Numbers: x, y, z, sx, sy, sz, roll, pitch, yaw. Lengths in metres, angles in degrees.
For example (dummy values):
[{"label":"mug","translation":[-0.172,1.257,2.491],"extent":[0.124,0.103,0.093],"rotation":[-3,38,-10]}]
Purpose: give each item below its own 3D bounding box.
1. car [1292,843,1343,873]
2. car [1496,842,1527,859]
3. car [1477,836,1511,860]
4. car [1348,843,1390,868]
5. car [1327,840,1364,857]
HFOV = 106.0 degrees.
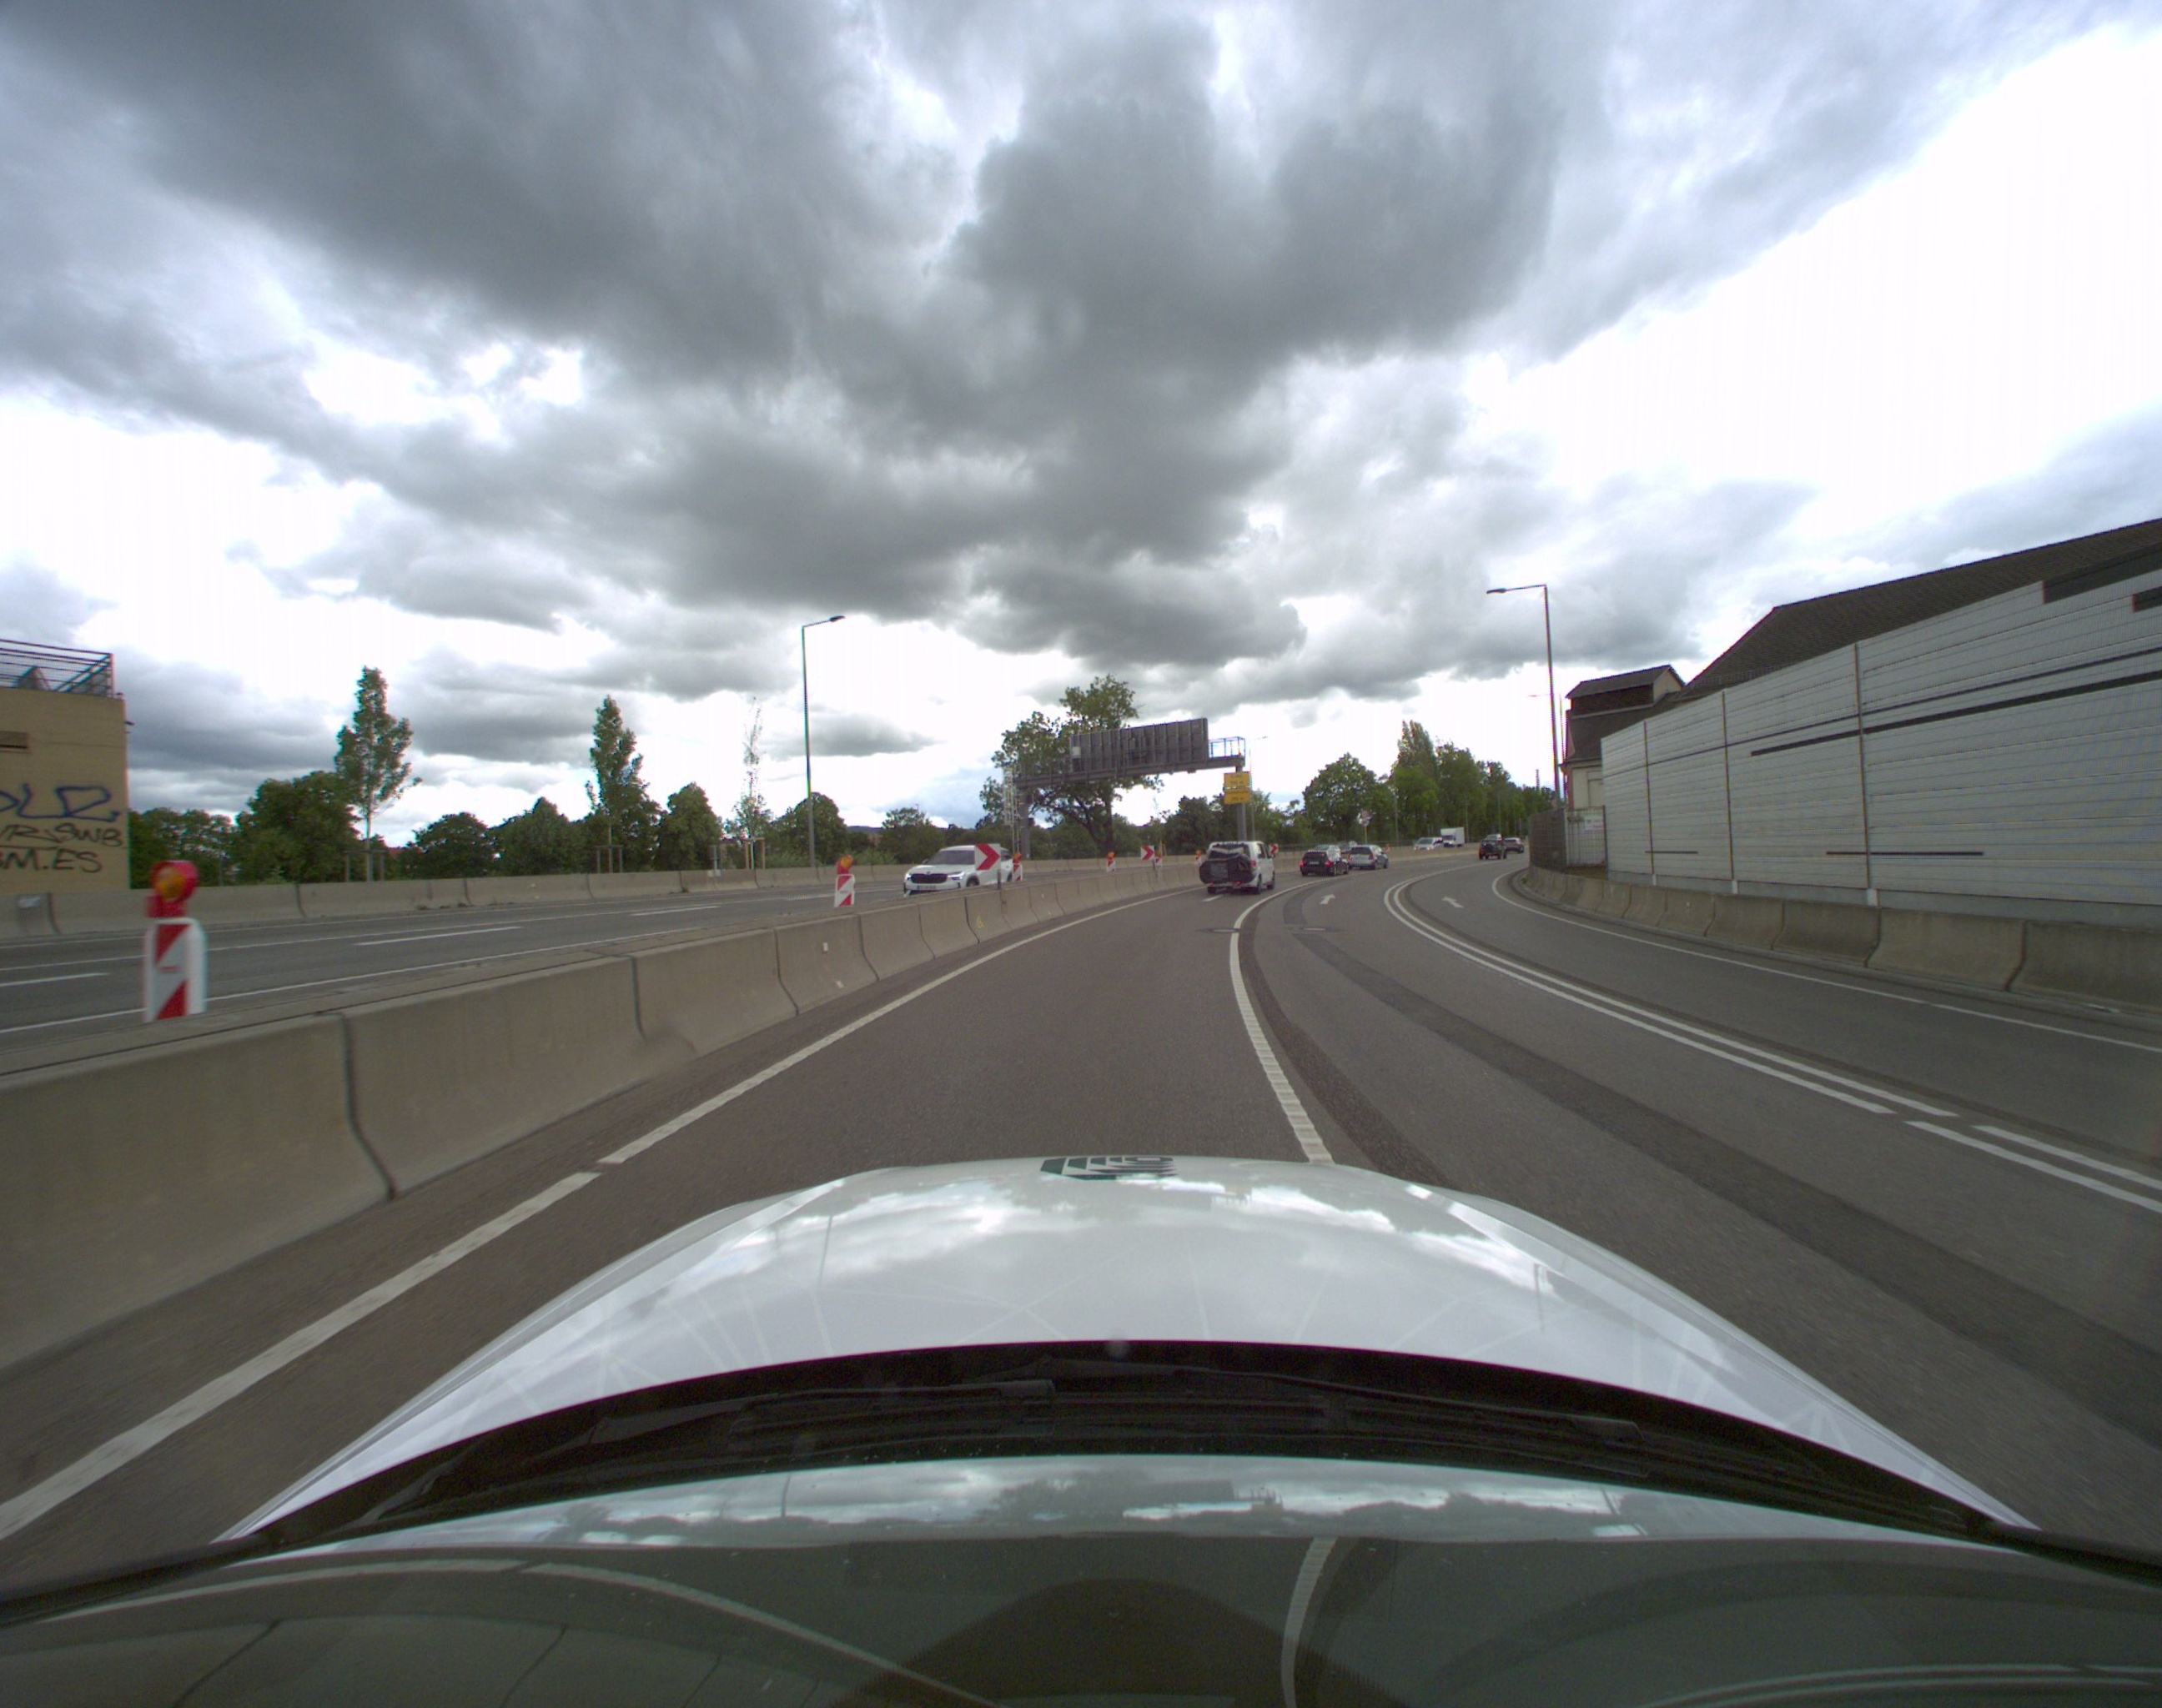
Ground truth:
[{"label":"car","translation":[12.656,0.208,43.409],"extent":[1.798,1.434,4.090],"rotation":[-3,0,27]},{"label":"car","translation":[44.502,-0.351,84.178],"extent":[1.974,1.673,4.025],"rotation":[0,0,40]},{"label":"car","translation":[33.947,-0.518,66.890],"extent":[1.974,1.860,4.026],"rotation":[-2,-1,34]},{"label":"car","translation":[18.359,0.086,51.760],"extent":[1.902,1.488,4.090],"rotation":[-1,0,28]},{"label":"car","translation":[27.366,-0.590,84.124],"extent":[1.974,1.672,4.758],"rotation":[0,1,40]}]
